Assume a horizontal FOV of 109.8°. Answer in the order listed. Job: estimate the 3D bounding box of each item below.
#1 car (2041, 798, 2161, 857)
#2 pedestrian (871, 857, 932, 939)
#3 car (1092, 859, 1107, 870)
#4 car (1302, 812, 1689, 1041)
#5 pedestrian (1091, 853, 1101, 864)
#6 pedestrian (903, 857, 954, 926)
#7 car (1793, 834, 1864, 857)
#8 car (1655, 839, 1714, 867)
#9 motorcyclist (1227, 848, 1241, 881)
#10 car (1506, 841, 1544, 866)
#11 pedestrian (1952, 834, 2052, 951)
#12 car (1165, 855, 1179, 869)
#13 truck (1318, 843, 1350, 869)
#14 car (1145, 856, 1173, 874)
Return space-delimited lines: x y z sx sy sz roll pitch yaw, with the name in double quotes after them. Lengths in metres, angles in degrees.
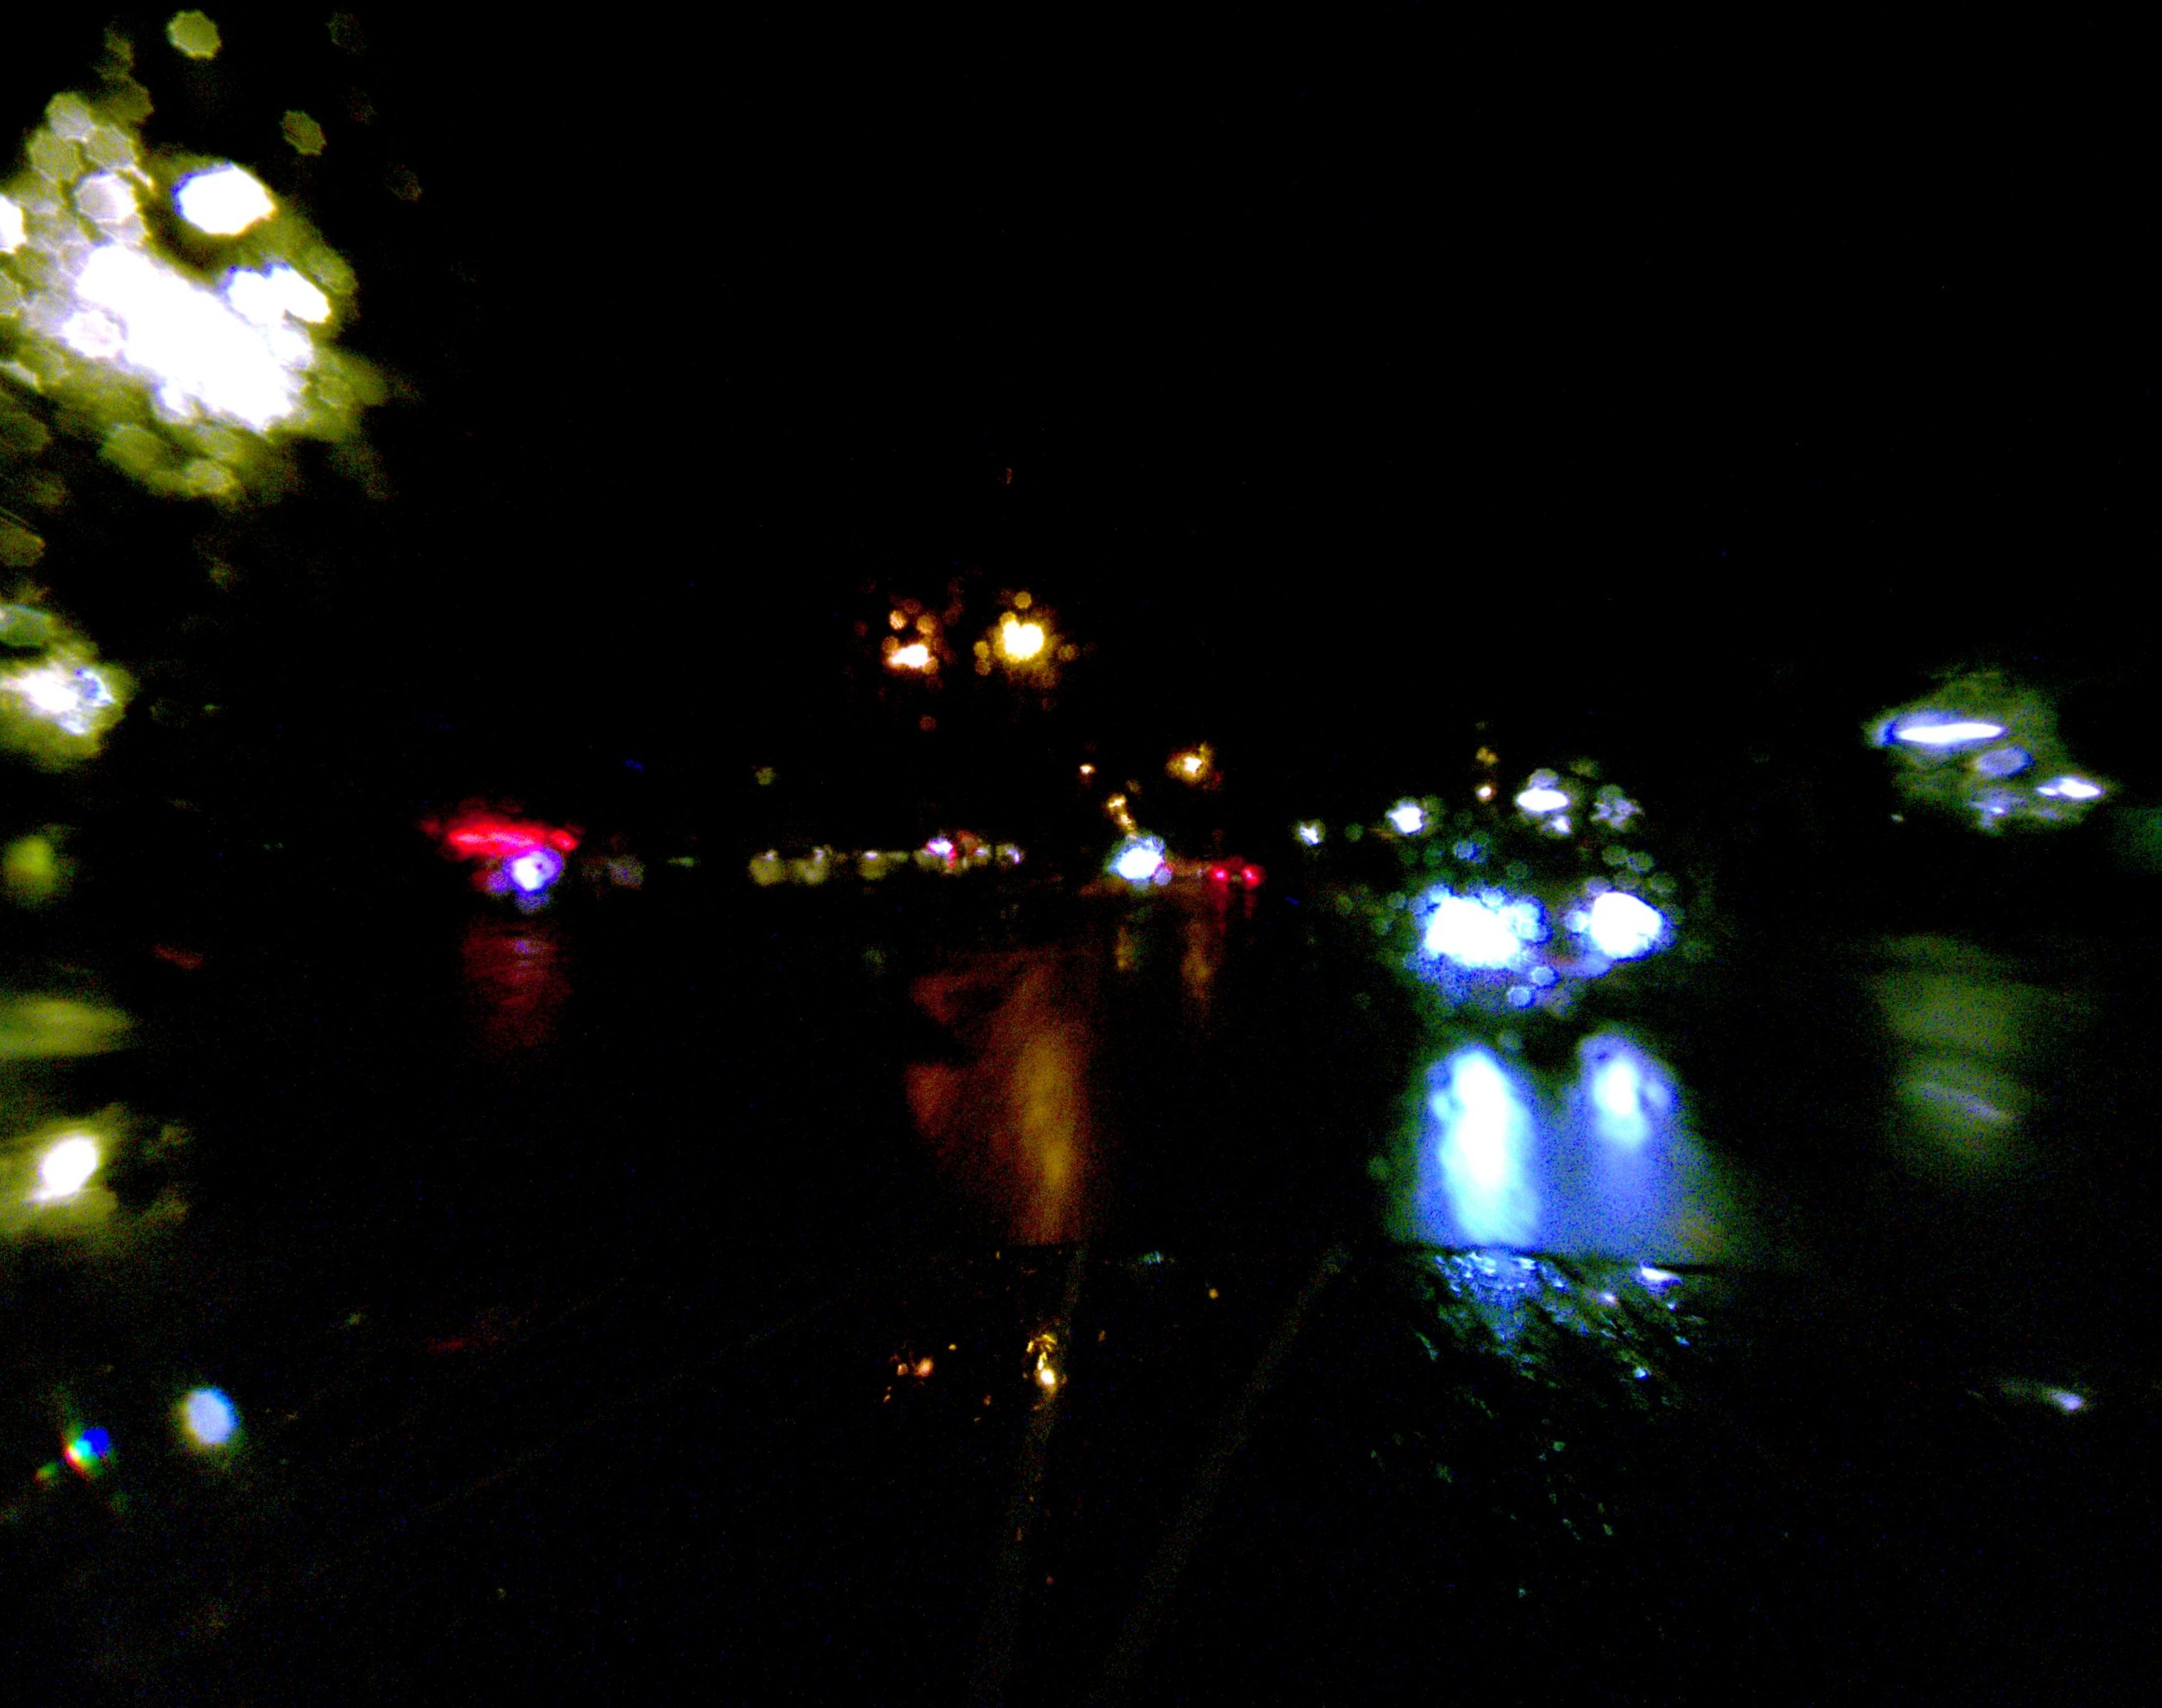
50.835 -1.264 37.960 1.715 2.715 4.362 -2 0 24 "car"
-4.140 1.000 17.596 1.109 1.815 0.851 -2 0 7 "pedestrian"
2.610 1.478 106.789 1.826 1.521 4.784 -1 0 4 "car"
4.324 0.679 9.168 2.038 1.942 5.202 -1 -1 3 "car"
2.041 0.612 103.740 1.051 1.566 1.019 -3 0 10 "pedestrian"
-4.173 1.019 20.859 1.110 1.815 0.851 -2 0 5 "pedestrian"
49.757 -0.560 50.688 1.866 1.434 4.501 -2 0 23 "car"
34.996 -0.061 44.132 1.715 1.511 3.925 -2 0 24 "car"
9.502 0.646 47.290 0.694 2.002 0.983 -2 0 3 "motorcyclist"
33.695 -0.038 57.761 1.866 1.750 4.501 -2 0 23 "car"
14.274 0.573 11.806 0.769 1.726 0.971 -2 0 38 "pedestrian"
10.991 0.934 92.110 1.601 1.555 4.381 1 0 5 "car"
21.066 0.176 63.104 2.125 2.001 5.271 -2 -1 23 "truck"
6.969 0.993 68.134 1.857 1.490 4.769 -2 -1 -2 "car"
